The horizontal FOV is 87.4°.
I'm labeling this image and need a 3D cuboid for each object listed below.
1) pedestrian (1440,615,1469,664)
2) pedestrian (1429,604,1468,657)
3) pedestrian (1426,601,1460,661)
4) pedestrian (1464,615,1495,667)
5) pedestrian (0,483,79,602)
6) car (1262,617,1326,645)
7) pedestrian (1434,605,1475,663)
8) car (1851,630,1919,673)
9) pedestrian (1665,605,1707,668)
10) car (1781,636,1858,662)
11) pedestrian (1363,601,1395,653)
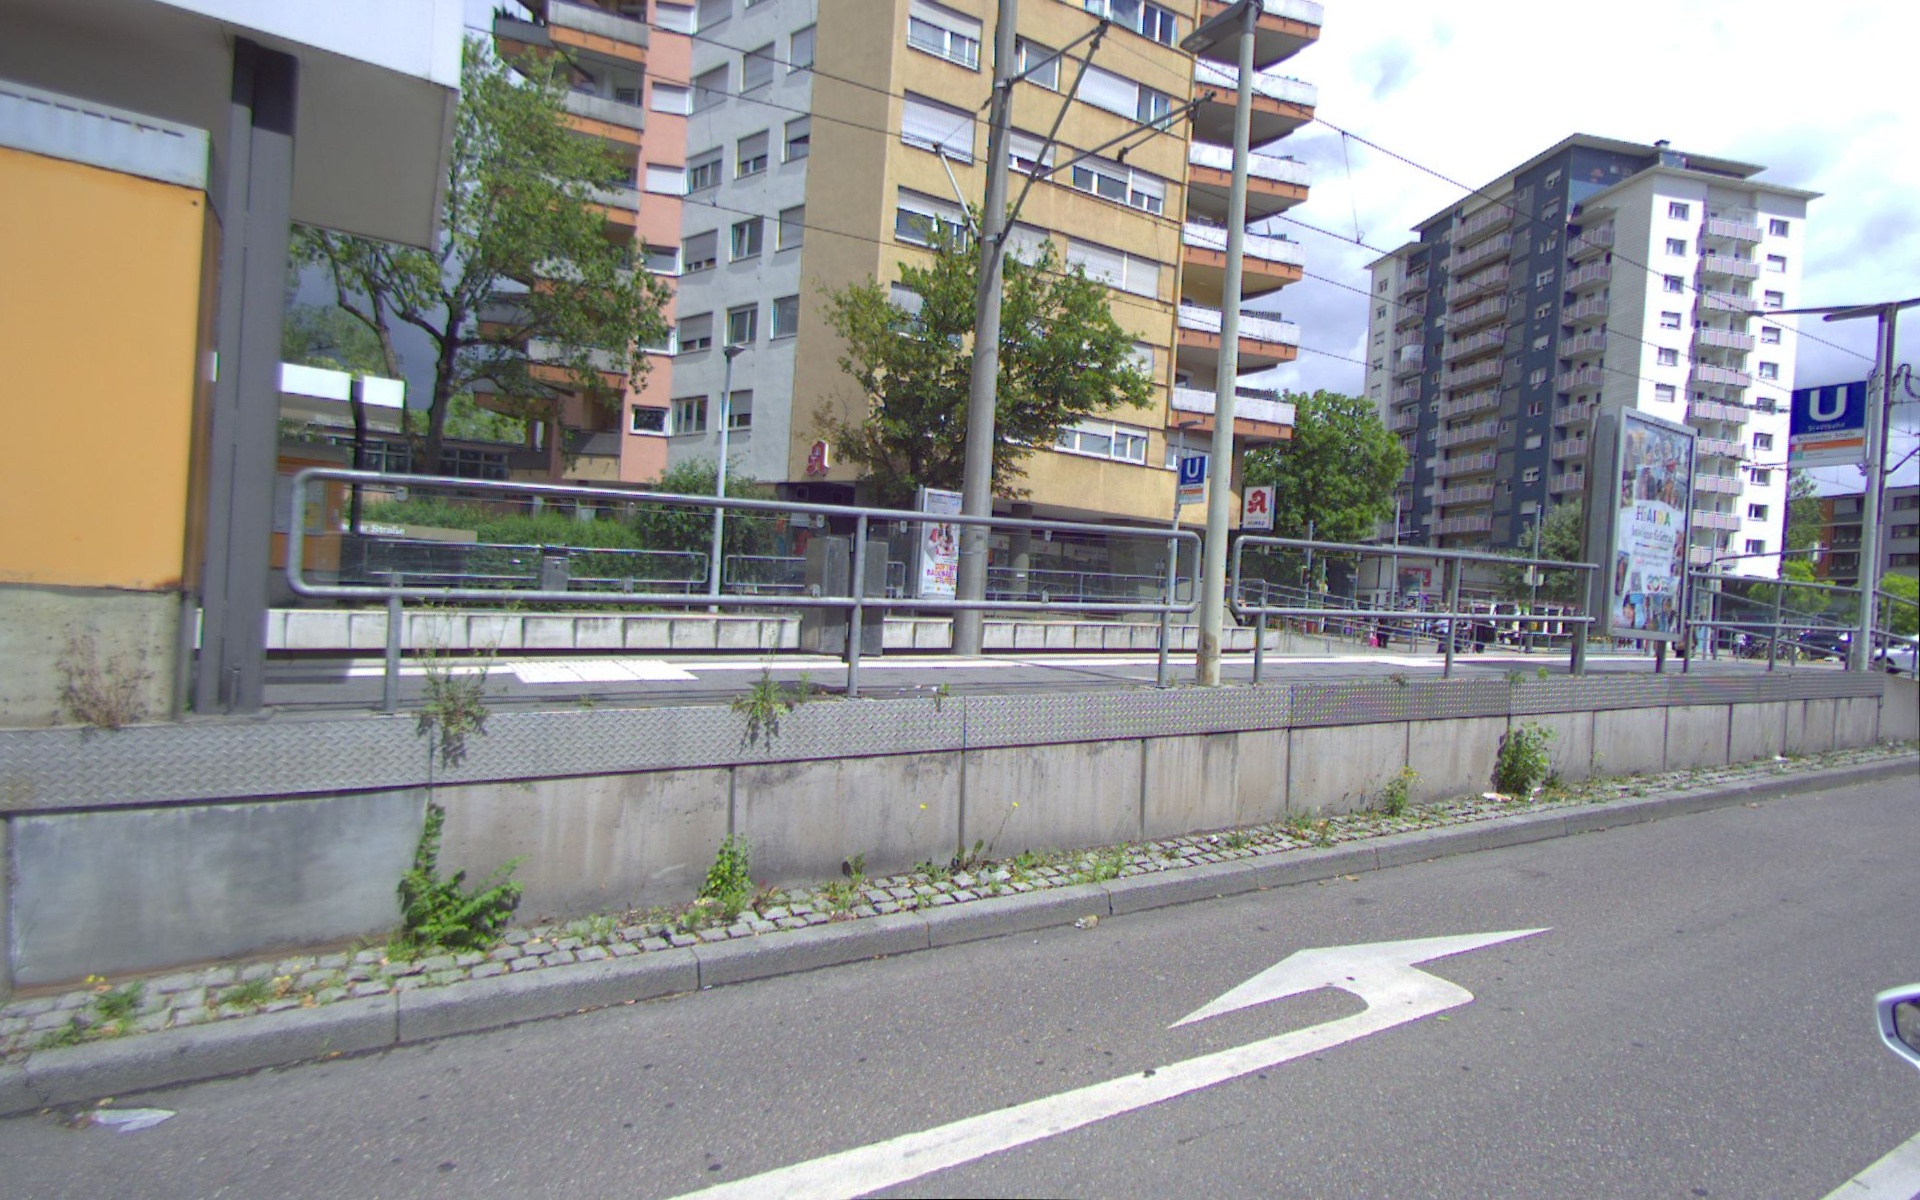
[{"bbox_3d":[14.068,1.116,28.584,0.543,1.360,0.669,2,0,12],"label":"pedestrian"},{"bbox_3d":[15.312,0.947,31.486,0.615,1.599,0.855,1,0,-25],"label":"pedestrian"},{"bbox_3d":[14.410,0.915,29.995,0.668,1.729,0.827,2,0,10],"label":"pedestrian"},{"bbox_3d":[14.257,1.115,27.555,0.677,1.360,0.859,2,0,30],"label":"pedestrian"},{"bbox_3d":[-10.141,-0.611,11.048,0.511,1.253,0.739,1,0,-29],"label":"pedestrian"},{"bbox_3d":[21.693,1.971,65.278,1.726,1.702,3.661,2,-1,-33],"label":"car"},{"bbox_3d":[14.981,1.022,30.439,0.681,1.719,0.853,1,0,-30],"label":"pedestrian"},{"bbox_3d":[37.028,1.996,38.165,1.929,1.546,4.533,2,0,-40],"label":"car"},{"bbox_3d":[19.412,0.964,26.869,0.630,1.654,0.698,1,-1,-29],"label":"pedestrian"},{"bbox_3d":[56.470,3.187,66.014,1.602,1.482,3.576,2,0,-38],"label":"car"},{"bbox_3d":[13.235,0.858,31.743,0.759,1.604,0.610,2,0,6],"label":"pedestrian"}]
